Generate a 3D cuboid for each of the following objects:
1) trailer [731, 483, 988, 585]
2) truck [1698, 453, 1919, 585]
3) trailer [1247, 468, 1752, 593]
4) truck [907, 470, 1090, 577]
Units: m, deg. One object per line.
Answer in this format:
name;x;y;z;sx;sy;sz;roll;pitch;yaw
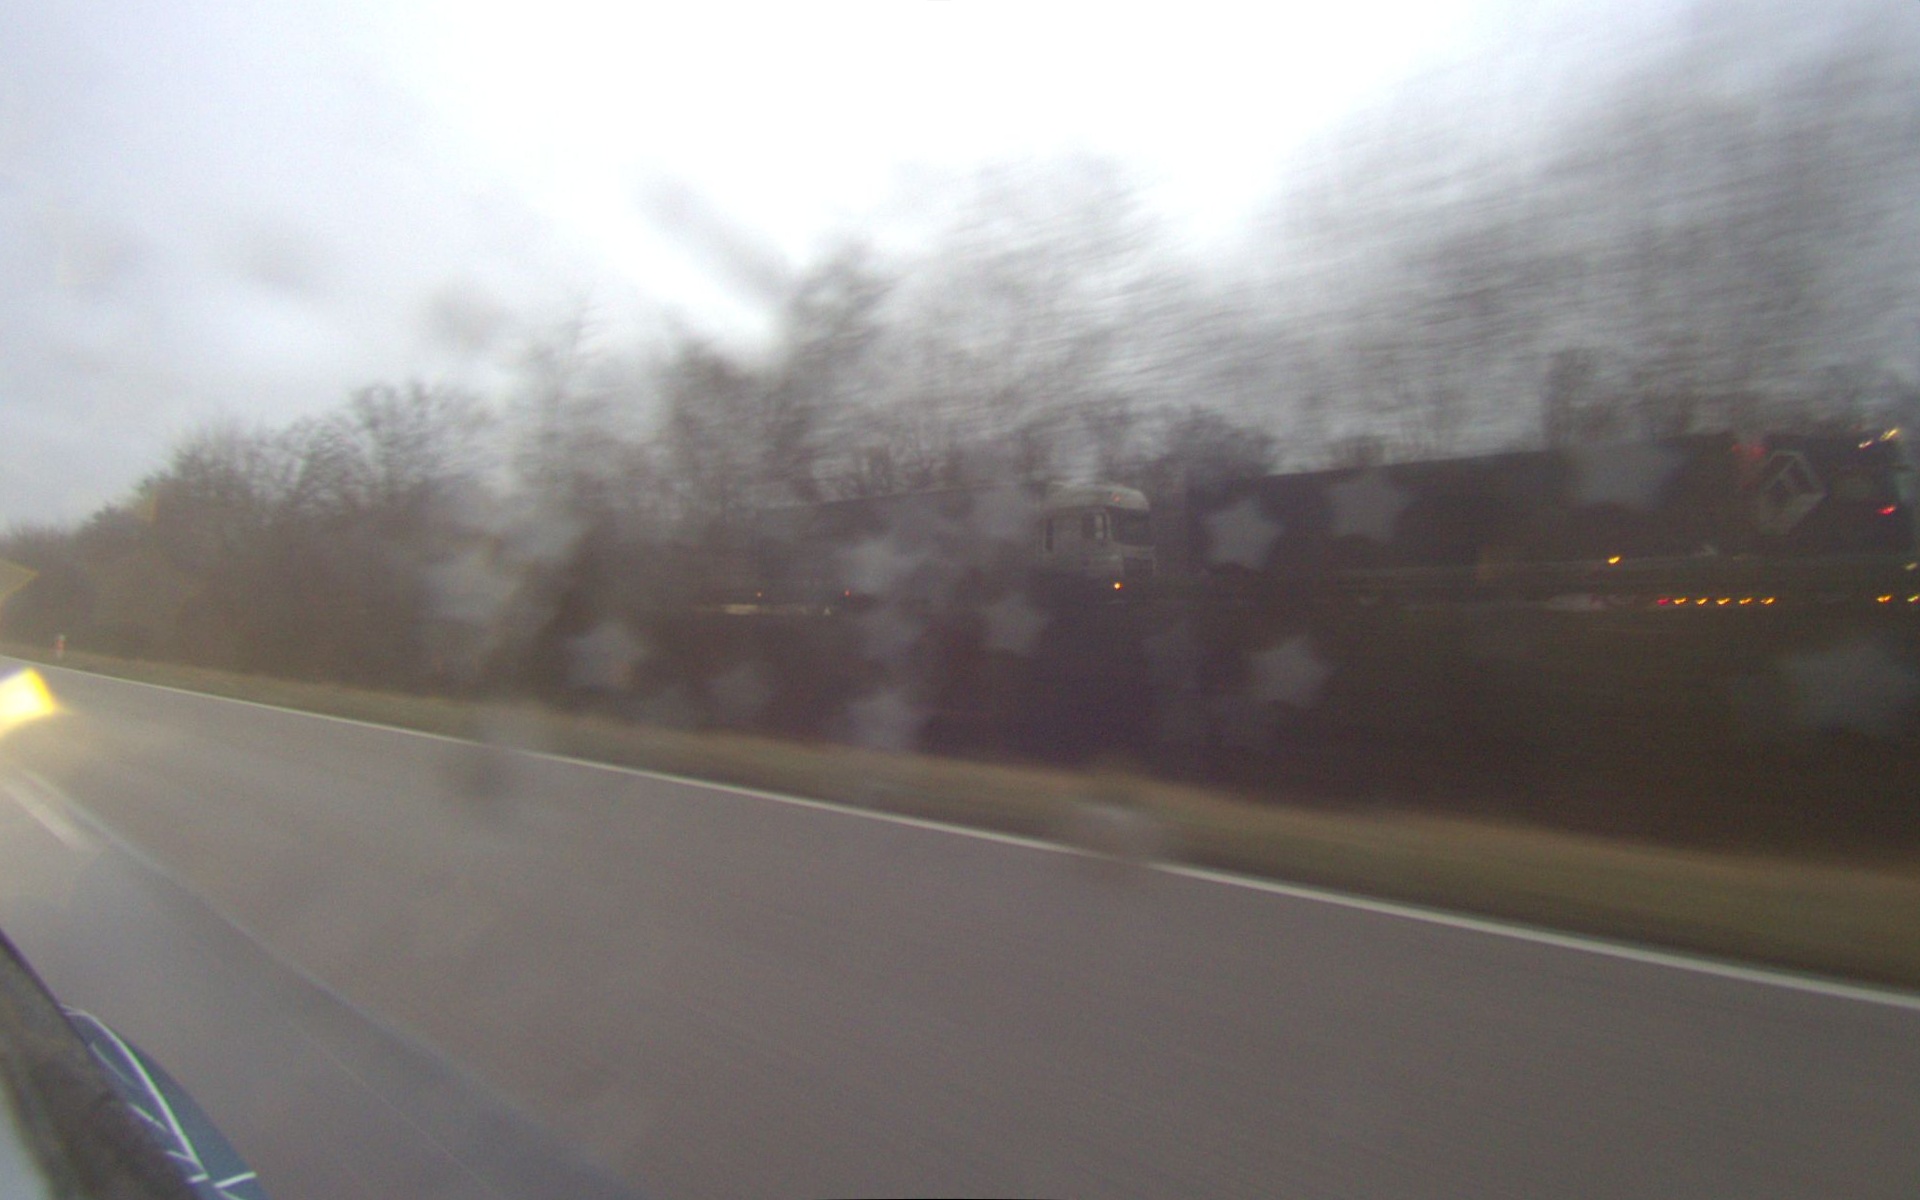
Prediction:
trailer;-4.027;-2.178;36.917;11.079;2.913;2.410;-1;-1;41
truck;18.735;-1.650;22.104;3.998;2.454;2.503;-1;-2;41
trailer;13.499;-1.542;26.667;11.497;2.443;2.482;-1;-2;41
truck;1.160;-2.304;32.402;5.580;2.909;2.424;-1;-1;41
